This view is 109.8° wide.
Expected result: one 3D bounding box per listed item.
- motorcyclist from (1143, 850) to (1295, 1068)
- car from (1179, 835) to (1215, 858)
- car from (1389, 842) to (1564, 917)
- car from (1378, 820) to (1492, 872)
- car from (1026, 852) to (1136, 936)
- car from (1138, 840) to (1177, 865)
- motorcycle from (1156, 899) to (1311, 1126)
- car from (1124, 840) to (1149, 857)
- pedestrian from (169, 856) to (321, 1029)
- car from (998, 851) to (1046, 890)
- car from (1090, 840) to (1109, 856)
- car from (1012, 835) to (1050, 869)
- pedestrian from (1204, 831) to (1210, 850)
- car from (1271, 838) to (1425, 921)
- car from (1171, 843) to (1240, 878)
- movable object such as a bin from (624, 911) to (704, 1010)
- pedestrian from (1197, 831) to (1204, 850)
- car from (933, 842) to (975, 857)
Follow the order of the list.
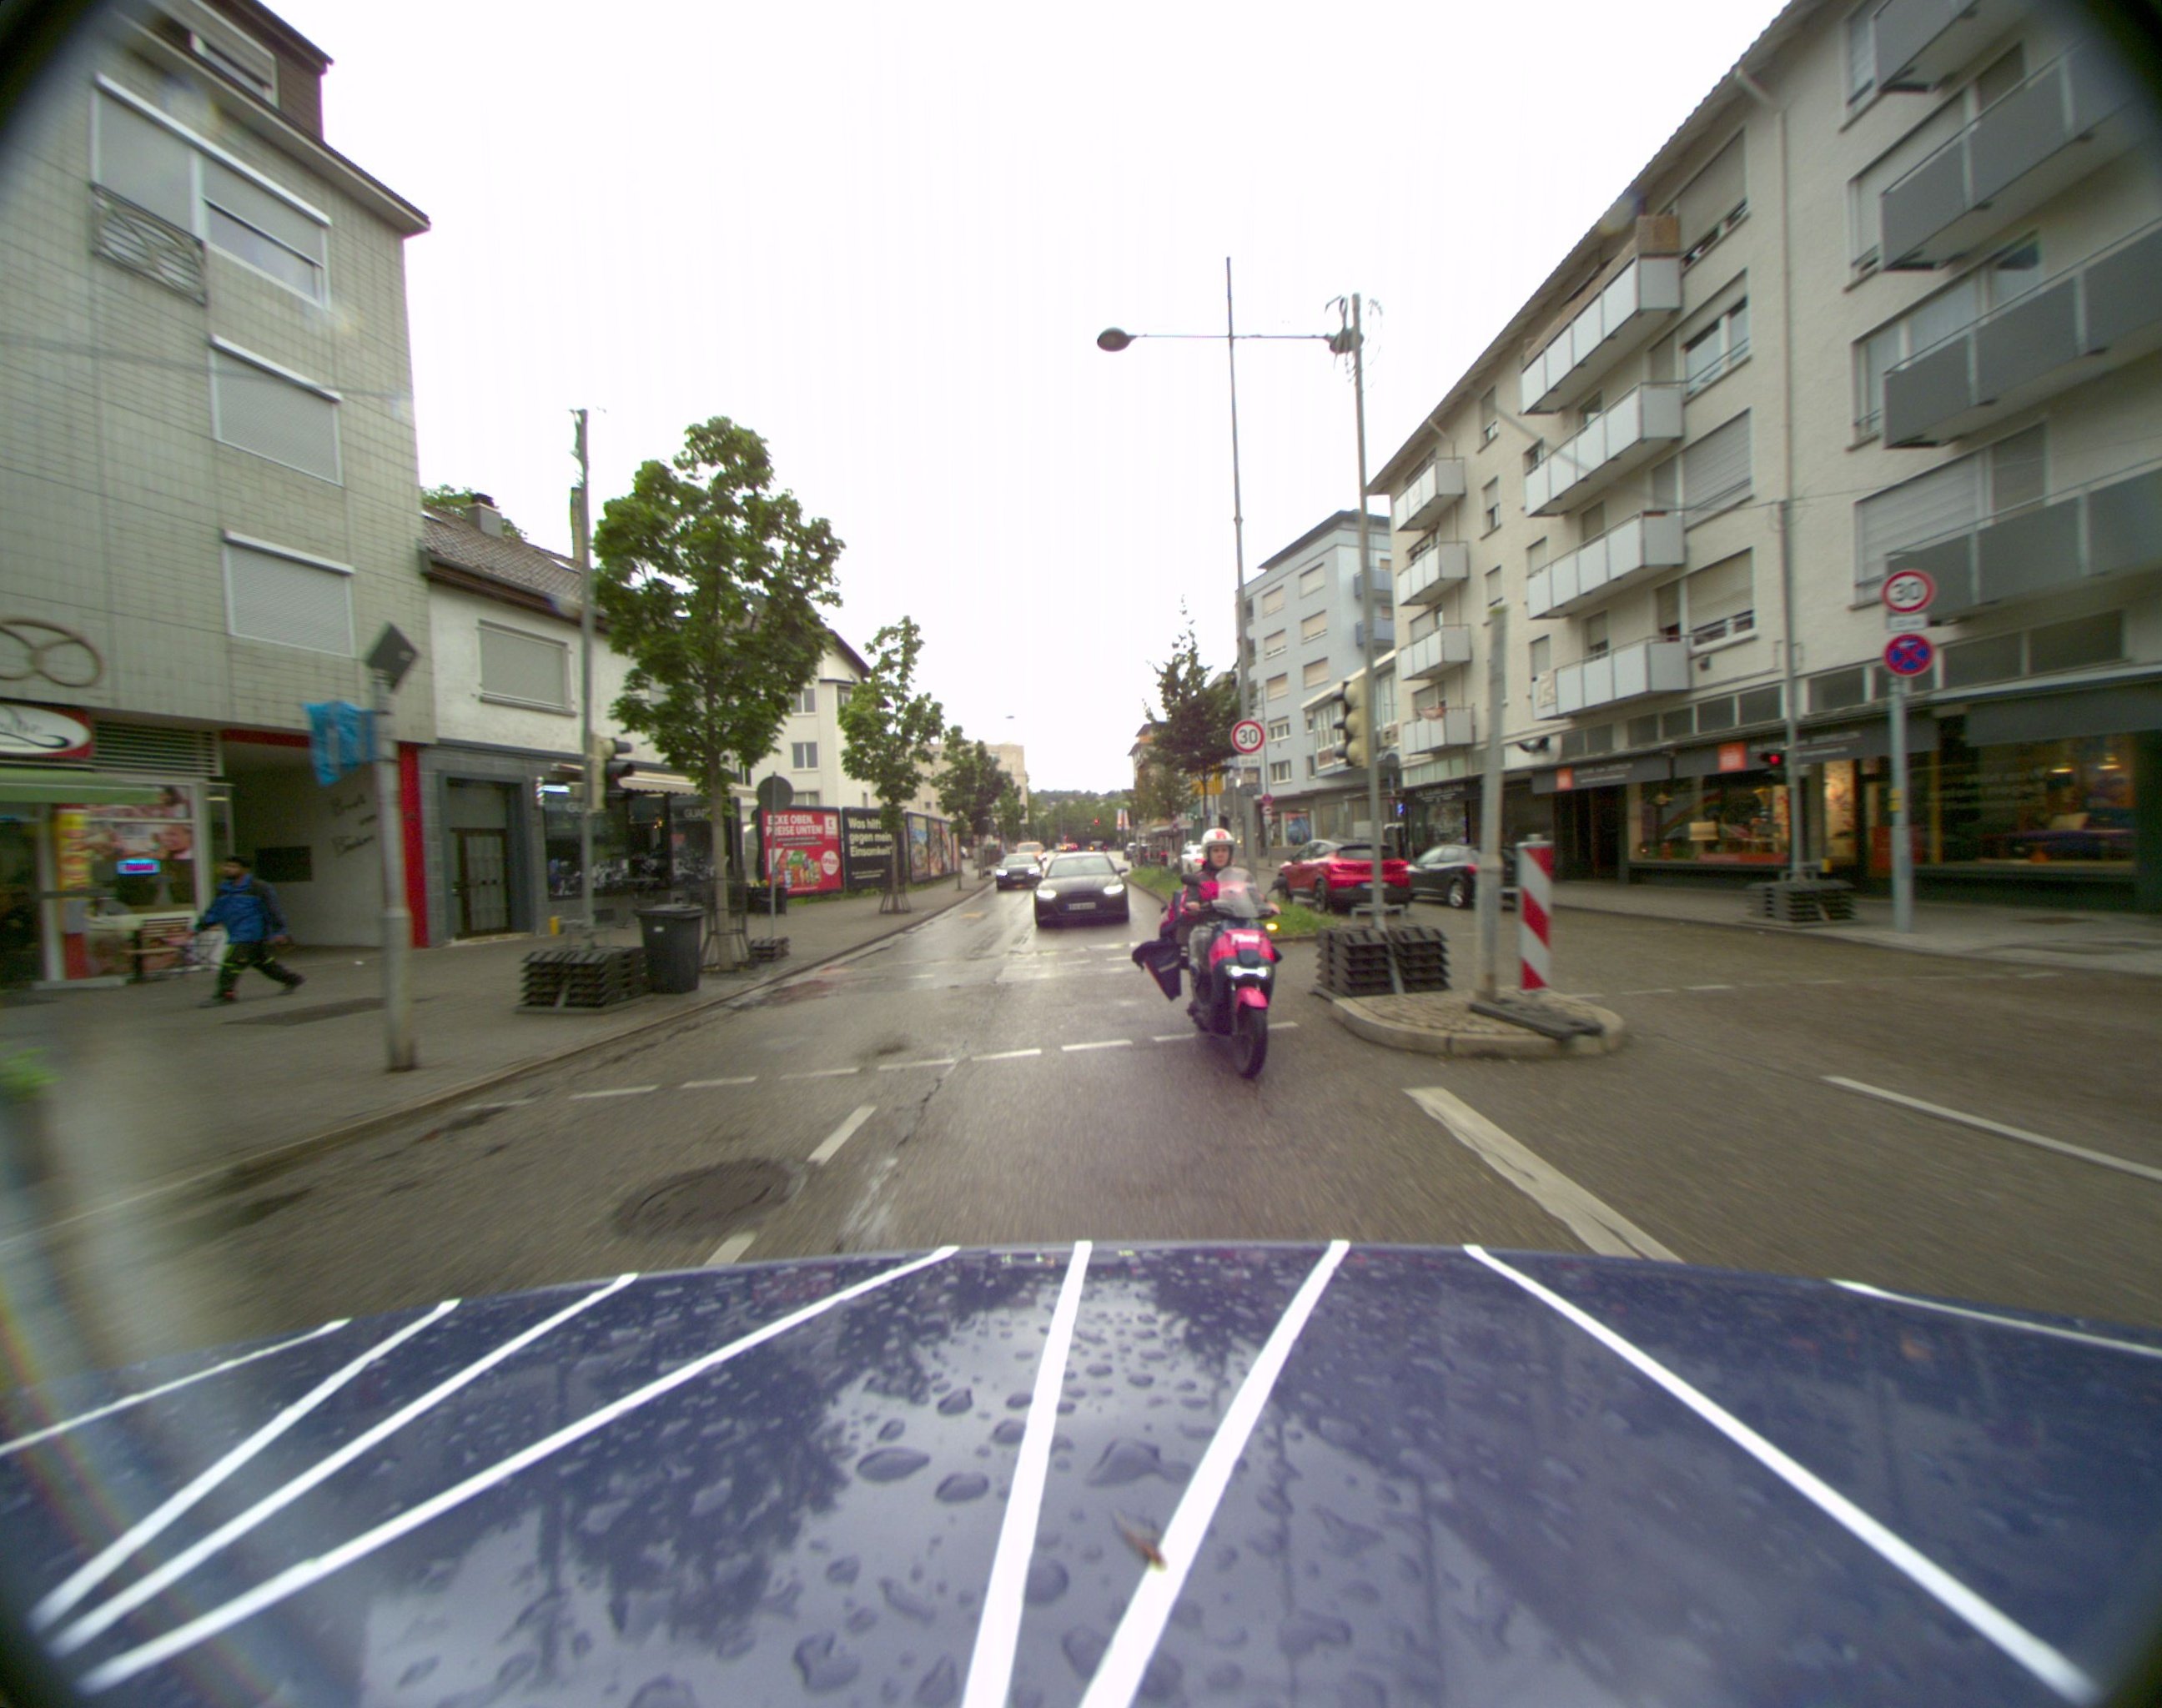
[{"bbox_3d":[1.030,0.750,5.868,0.917,1.485,0.864,-3,3,-4],"label":"motorcyclist"},{"bbox_3d":[8.177,-0.550,53.922,1.777,1.580,4.025,0,1,-2],"label":"car"},{"bbox_3d":[8.923,0.490,17.583,1.852,1.489,3.999,2,1,-1],"label":"car"},{"bbox_3d":[15.134,-0.363,32.648,3.997,2.043,1.894,-2,2,0],"label":"car"},{"bbox_3d":[-0.022,0.778,17.572,2.040,1.380,5.292,-5,1,0],"label":"car"},{"bbox_3d":[4.586,-0.120,45.997,1.822,1.433,4.156,0,1,-2],"label":"car"},{"bbox_3d":[1.053,1.053,5.770,0.589,1.184,2.100,-3,2,-3],"label":"motorcycle"},{"bbox_3d":[4.749,-0.459,65.358,1.703,1.433,3.839,0,1,-2],"label":"car"},{"bbox_3d":[-9.512,0.942,8.662,0.968,1.782,0.908,2,3,30],"label":"pedestrian"},{"bbox_3d":[-2.507,0.646,32.606,1.812,1.332,4.275,-6,2,-4],"label":"car"},{"bbox_3d":[1.907,-0.635,80.304,1.777,1.634,3.839,0,1,-2],"label":"car"},{"bbox_3d":[-3.434,-0.201,53.383,2.198,2.074,5.931,-3,2,0],"label":"car"},{"bbox_3d":[11.267,-1.195,67.955,0.513,1.679,0.531,0,3,-1],"label":"pedestrian"},{"bbox_3d":[5.729,0.465,16.880,1.852,1.585,4.089,-1,1,-2],"label":"car"},{"bbox_3d":[5.331,0.255,33.123,1.850,1.409,4.612,0,1,-5],"label":"car"},{"bbox_3d":[-5.035,1.271,9.204,0.579,1.104,0.665,0,0,5],"label":"movable object such as a bin"},{"bbox_3d":[10.670,-1.178,67.926,0.527,1.679,0.531,0,3,-1],"label":"pedestrian"},{"bbox_3d":[-14.245,-0.493,85.235,4.252,1.566,1.941,-2,-1,-38],"label":"car"}]
